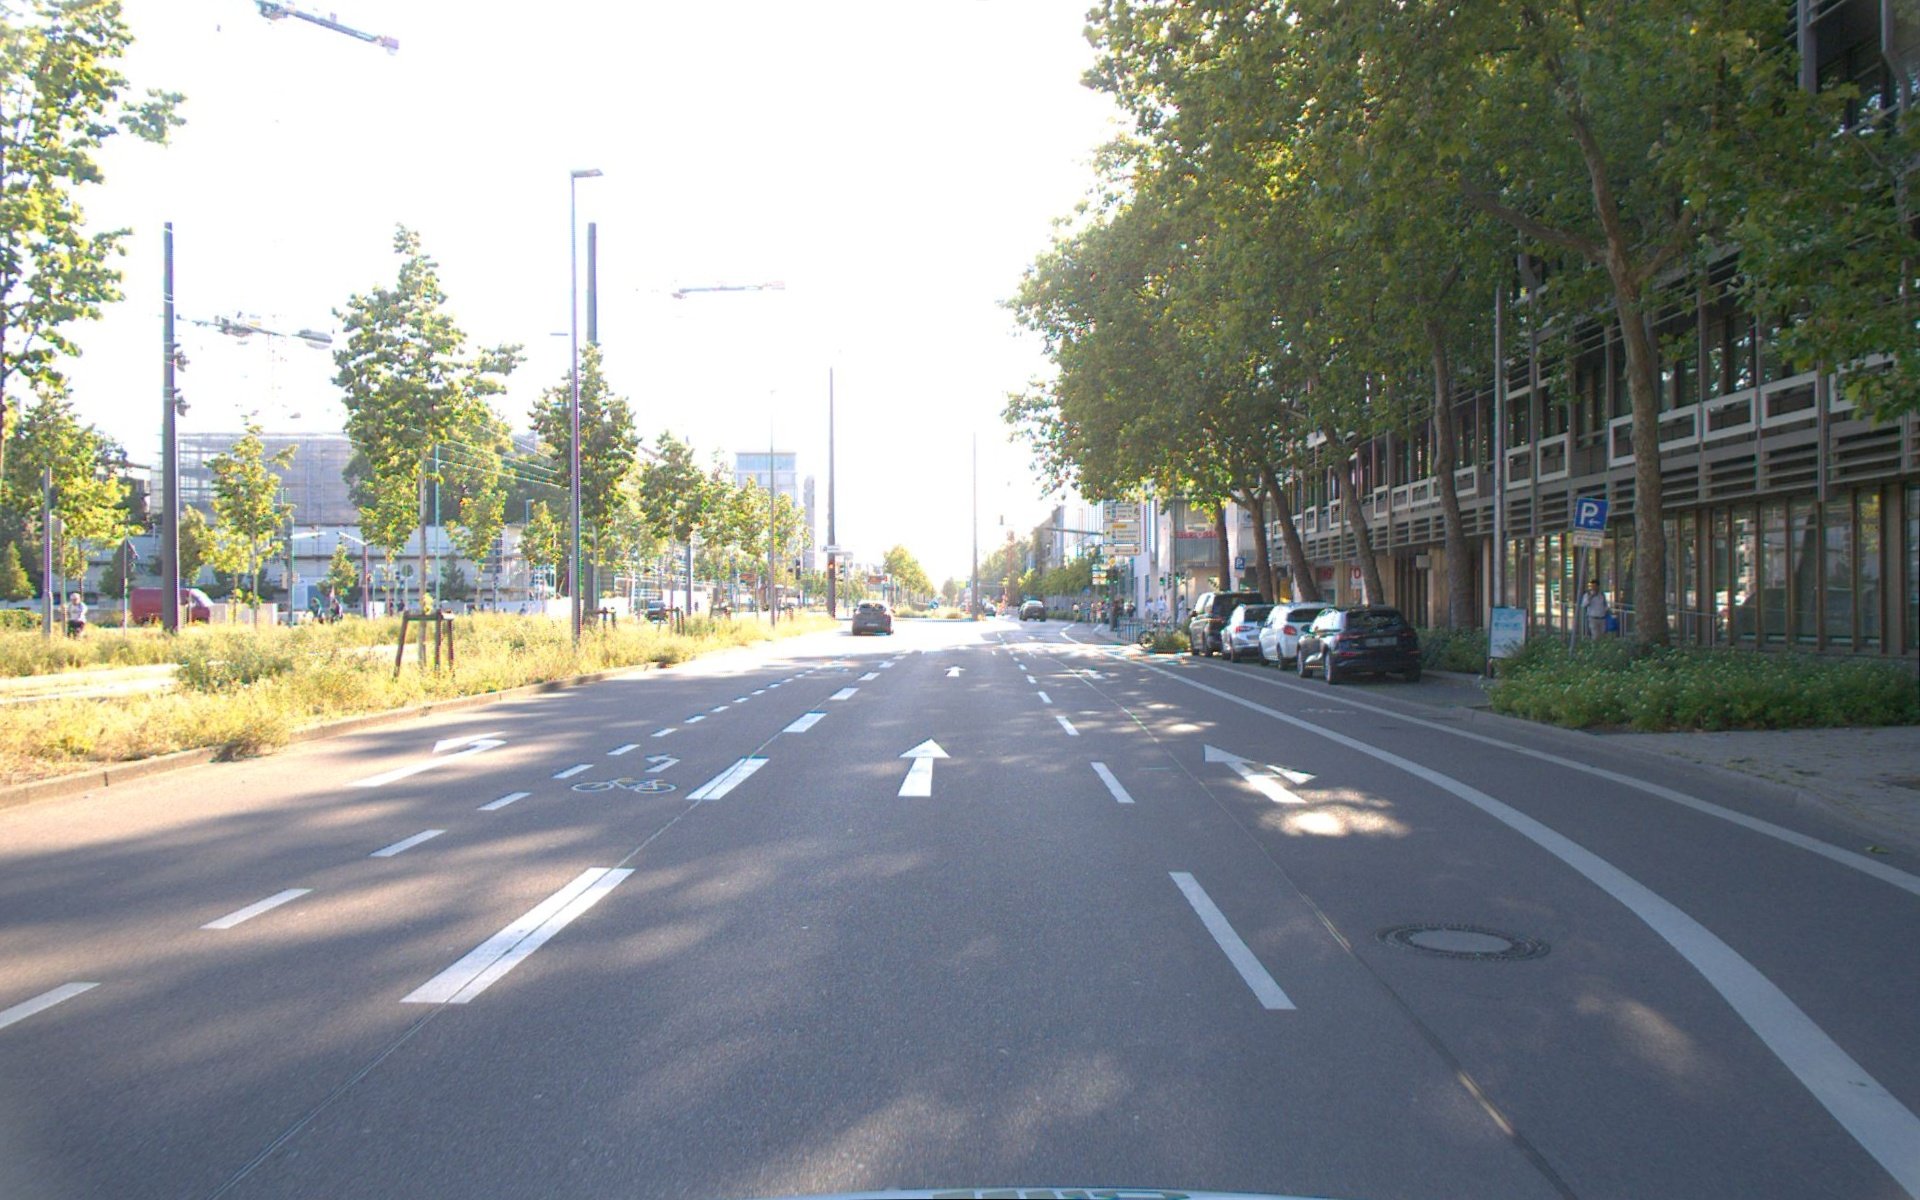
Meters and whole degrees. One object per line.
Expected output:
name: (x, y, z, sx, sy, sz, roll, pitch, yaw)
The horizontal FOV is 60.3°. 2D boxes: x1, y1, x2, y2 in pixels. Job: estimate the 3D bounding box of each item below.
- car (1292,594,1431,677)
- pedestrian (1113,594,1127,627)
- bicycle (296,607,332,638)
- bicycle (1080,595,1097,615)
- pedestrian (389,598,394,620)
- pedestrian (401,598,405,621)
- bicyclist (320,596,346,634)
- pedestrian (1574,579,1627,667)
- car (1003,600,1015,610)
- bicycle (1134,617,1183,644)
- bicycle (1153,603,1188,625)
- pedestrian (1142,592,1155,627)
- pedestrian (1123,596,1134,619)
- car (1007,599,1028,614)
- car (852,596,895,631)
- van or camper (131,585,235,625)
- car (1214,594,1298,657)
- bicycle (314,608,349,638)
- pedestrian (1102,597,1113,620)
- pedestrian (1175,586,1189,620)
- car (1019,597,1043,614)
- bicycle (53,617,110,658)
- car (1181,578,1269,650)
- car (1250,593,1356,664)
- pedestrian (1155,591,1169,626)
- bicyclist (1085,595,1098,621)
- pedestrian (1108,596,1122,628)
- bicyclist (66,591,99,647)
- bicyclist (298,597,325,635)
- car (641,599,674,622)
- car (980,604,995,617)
car: (7.765, 0.636, 32.367, 1.671, 1.443, 4.276, -2, 0, 1)
pedestrian: (8.529, 0.542, 88.173, 0.621, 1.732, 0.570, -2, 0, 1)
bicycle: (-24.678, 0.845, 63.170, 0.571, 1.124, 1.988, 0, 0, 1)
bicycle: (7.862, 0.283, 101.266, 0.782, 1.225, 2.266, 0, 0, 11)
pedestrian: (-38.184, 0.609, 111.078, 0.268, 1.490, 0.279, 0, 0, 0)
pedestrian: (-37.464, 0.633, 111.246, 0.268, 1.490, 0.315, 0, 0, -10)
bicyclist: (-23.986, 0.571, 63.284, 0.571, 1.467, 1.075, 0, 0, 1)
pedestrian: (13.904, 0.494, 35.912, 0.814, 1.888, 0.847, 0, 0, -1)
car: (7.545, 0.807, 254.140, 1.669, 1.453, 3.924, 0, 0, -2)
bicycle: (7.042, 1.088, 58.630, 1.656, 0.882, 0.573, -2, 0, 8)
bicycle: (11.089, 0.738, 87.065, 1.766, 1.105, 0.479, -2, 0, 1)
pedestrian: (11.573, 0.569, 101.538, 0.750, 2.096, 0.797, -2, 0, 7)
pedestrian: (12.779, 0.560, 125.446, 0.800, 1.765, 0.790, 0, 0, 4)
car: (5.828, 0.616, 168.865, 1.901, 1.511, 3.924, 0, 0, -2)
car: (-3.762, 0.577, 72.442, 1.741, 1.453, 3.999, 1, 0, -2)
van or camper: (-48.748, 0.307, 103.824, 5.543, 2.456, 2.155, 0, 0, 2)
car: (7.894, 0.639, 44.481, 1.646, 1.541, 5.062, -2, 0, 4)
bicycle: (-23.996, 0.879, 63.180, 0.571, 1.124, 1.988, 0, 0, 1)
pedestrian: (11.156, 0.648, 125.470, 0.800, 1.765, 0.790, 0, 0, 4)
pedestrian: (11.539, 0.148, 85.965, 0.621, 1.732, 0.570, -2, 0, 1)
car: (6.357, 0.472, 148.018, 1.901, 1.453, 3.924, 0, 0, -2)
bicycle: (-24.158, 1.033, 45.492, 0.547, 1.078, 1.898, 0, 0, 0)
car: (8.009, 0.390, 50.425, 1.792, 2.005, 5.322, -2, 0, 0)
car: (7.952, 0.629, 38.651, 1.647, 1.504, 3.874, -2, 0, 1)
pedestrian: (12.277, 0.488, 100.651, 0.750, 2.096, 0.797, -2, 0, 7)
bicyclist: (8.042, 0.486, 101.205, 0.783, 1.630, 0.785, 0, 0, 4)
pedestrian: (8.201, 0.627, 87.454, 0.621, 1.636, 0.570, -2, 0, 1)
bicyclist: (-24.154, 0.514, 45.516, 0.545, 1.533, 0.668, 0, 0, 0)
bicyclist: (-24.683, 0.603, 62.990, 0.571, 1.467, 1.075, 0, 0, 1)
car: (-24.892, 0.838, 136.156, 1.953, 1.807, 4.000, 0, 0, 0)
car: (3.409, 1.321, 205.868, 1.723, 1.511, 3.849, 0, 0, -2)
